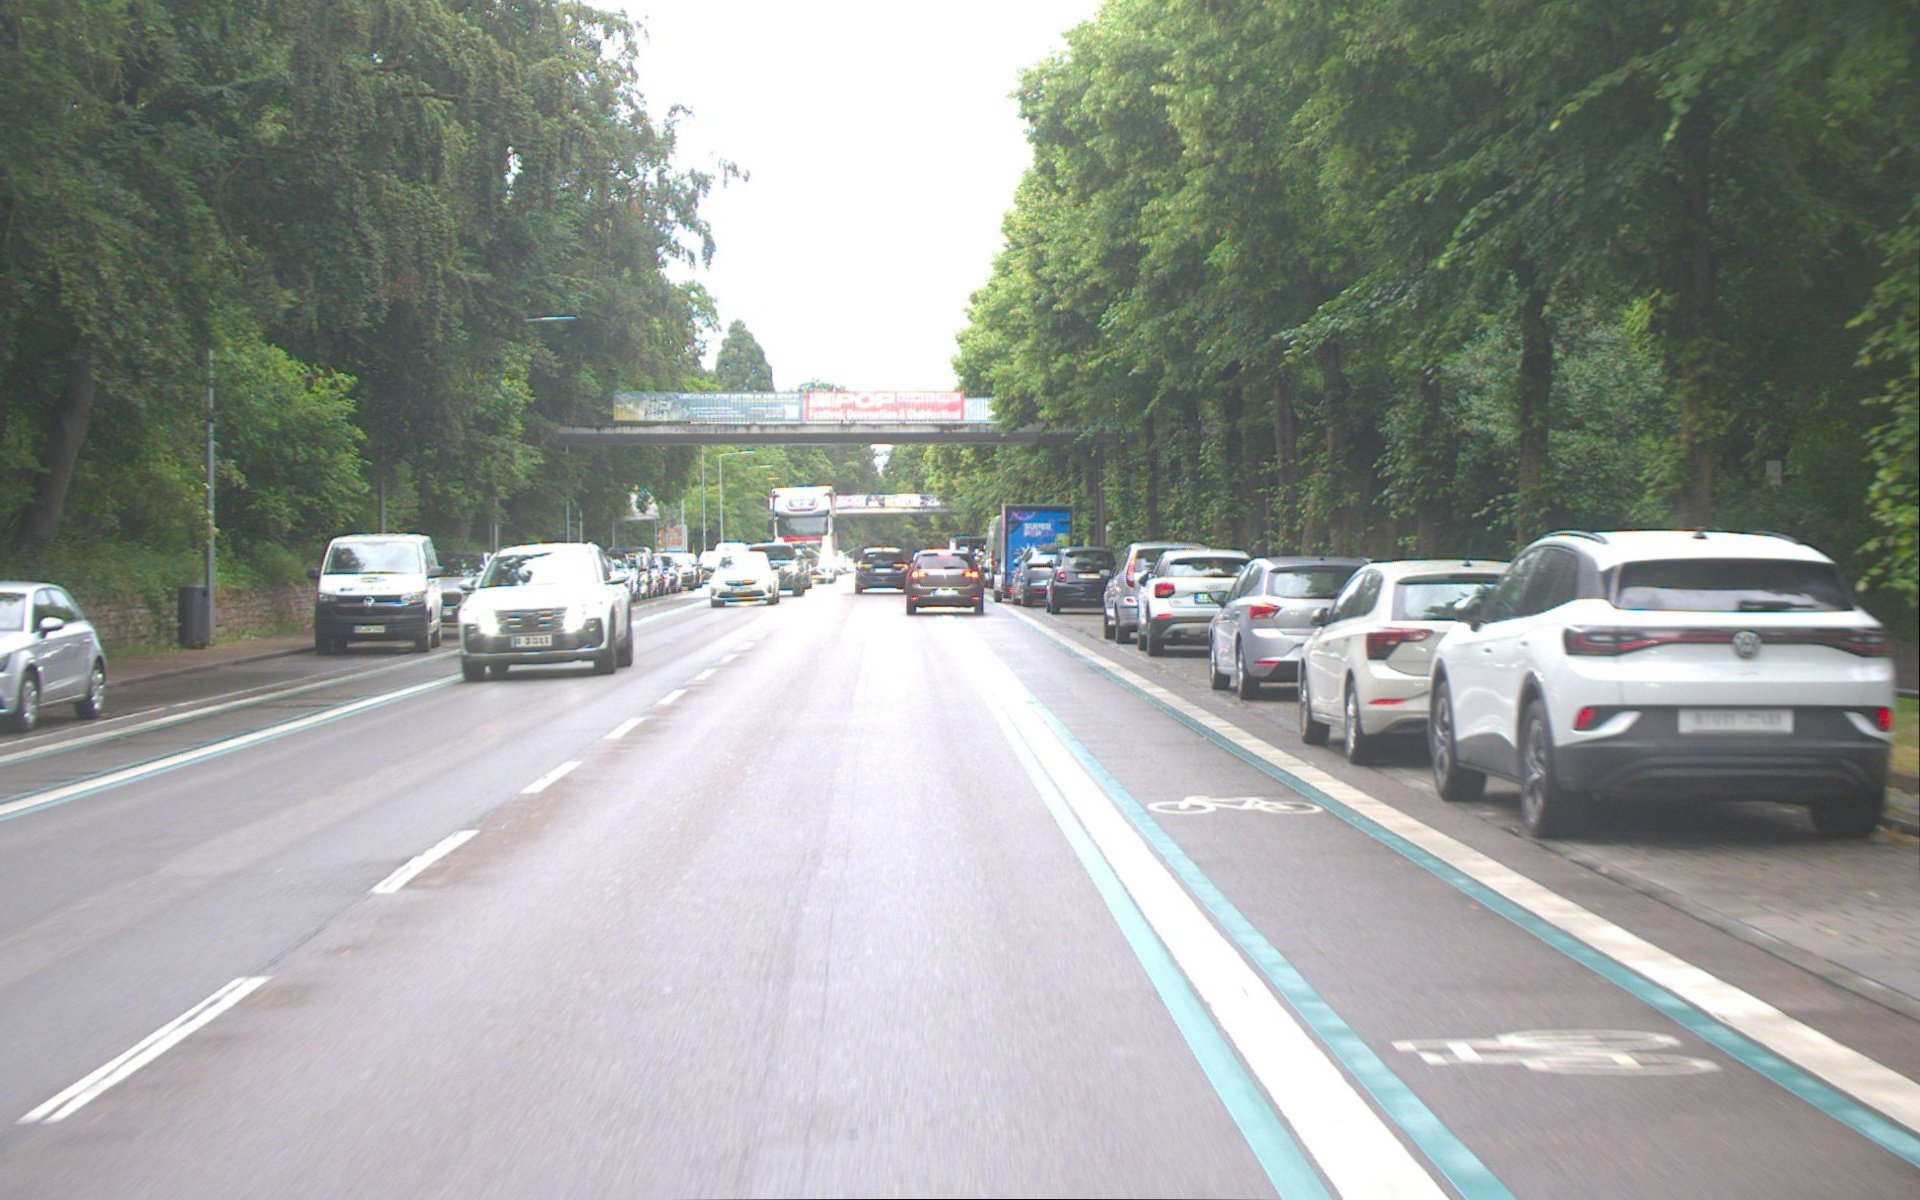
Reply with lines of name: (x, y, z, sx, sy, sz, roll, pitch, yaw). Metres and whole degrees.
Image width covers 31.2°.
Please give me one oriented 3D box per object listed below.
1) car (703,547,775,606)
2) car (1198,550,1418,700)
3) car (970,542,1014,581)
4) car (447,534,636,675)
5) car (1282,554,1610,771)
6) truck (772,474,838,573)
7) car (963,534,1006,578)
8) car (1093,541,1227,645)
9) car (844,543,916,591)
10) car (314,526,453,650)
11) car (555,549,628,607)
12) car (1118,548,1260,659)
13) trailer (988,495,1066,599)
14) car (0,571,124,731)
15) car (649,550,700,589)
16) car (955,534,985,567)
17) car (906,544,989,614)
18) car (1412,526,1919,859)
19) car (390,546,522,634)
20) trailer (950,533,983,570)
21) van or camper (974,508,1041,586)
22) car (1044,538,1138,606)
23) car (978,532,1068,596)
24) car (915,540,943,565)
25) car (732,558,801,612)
car: (-5.910, -0.654, 92.269, 1.775, 1.461, 4.063, -3, 1, -2)
car: (3.575, 0.216, 35.943, 1.698, 1.448, 4.098, 1, 1, -3)
car: (1.335, -1.642, 145.703, 1.756, 1.584, 4.499, 1, 1, -1)
car: (-5.231, 0.012, 43.470, 1.953, 1.633, 4.445, -1, 1, -2)
car: (3.521, 0.405, 25.579, 1.698, 1.448, 3.947, 1, 1, -3)
truck: (-6.607, -3.244, 146.893, 2.517, 4.032, 4.917, -3, 1, -1)
car: (1.171, -2.104, 164.034, 1.926, 2.015, 4.664, 1, 1, -1)
car: (3.186, -0.150, 55.592, 1.753, 1.591, 4.740, 0, 1, -2)
car: (-2.569, -1.075, 109.759, 2.140, 1.487, 4.499, 1, 1, -3)
car: (-9.722, -0.245, 58.284, 1.973, 1.998, 5.019, 0, 1, -5)
car: (-10.108, -0.623, 94.568, 1.831, 1.472, 4.041, -1, 1, -4)
car: (3.264, 0.014, 49.698, 1.698, 1.508, 4.469, 1, 1, -1)
trailer: (1.798, -1.446, 93.509, 1.952, 2.749, 4.007, 0, 1, -1)
car: (-9.522, 0.452, 33.677, 1.690, 1.400, 4.028, 0, 1, 0)
car: (-11.170, -1.207, 134.692, 1.956, 1.458, 4.757, 0, 1, -4)
car: (0.649, -3.219, 224.196, 1.889, 2.120, 4.045, -1, 1, 0)
car: (-0.280, -0.491, 77.488, 1.818, 1.503, 4.139, 1, 1, 0)
car: (3.876, 0.420, 19.396, 1.993, 1.656, 4.563, 0, 1, -1)
car: (-9.835, -0.224, 67.426, 2.010, 1.600, 4.780, -1, 1, -2)
trailer: (0.374, -2.917, 207.378, 1.884, 2.158, 3.808, -1, 1, -1)
van or camper: (1.692, -1.908, 124.501, 2.042, 2.720, 6.901, 1, 1, -2)
car: (2.963, -0.662, 78.574, 1.825, 1.498, 4.571, -1, 1, -2)
car: (1.574, -0.947, 87.703, 1.899, 1.542, 4.756, 1, 1, -4)
car: (-2.050, -3.087, 224.833, 1.731, 1.578, 4.037, -1, 1, -1)
car: (-6.035, -0.487, 107.594, 1.961, 1.611, 4.466, -1, 1, -1)
